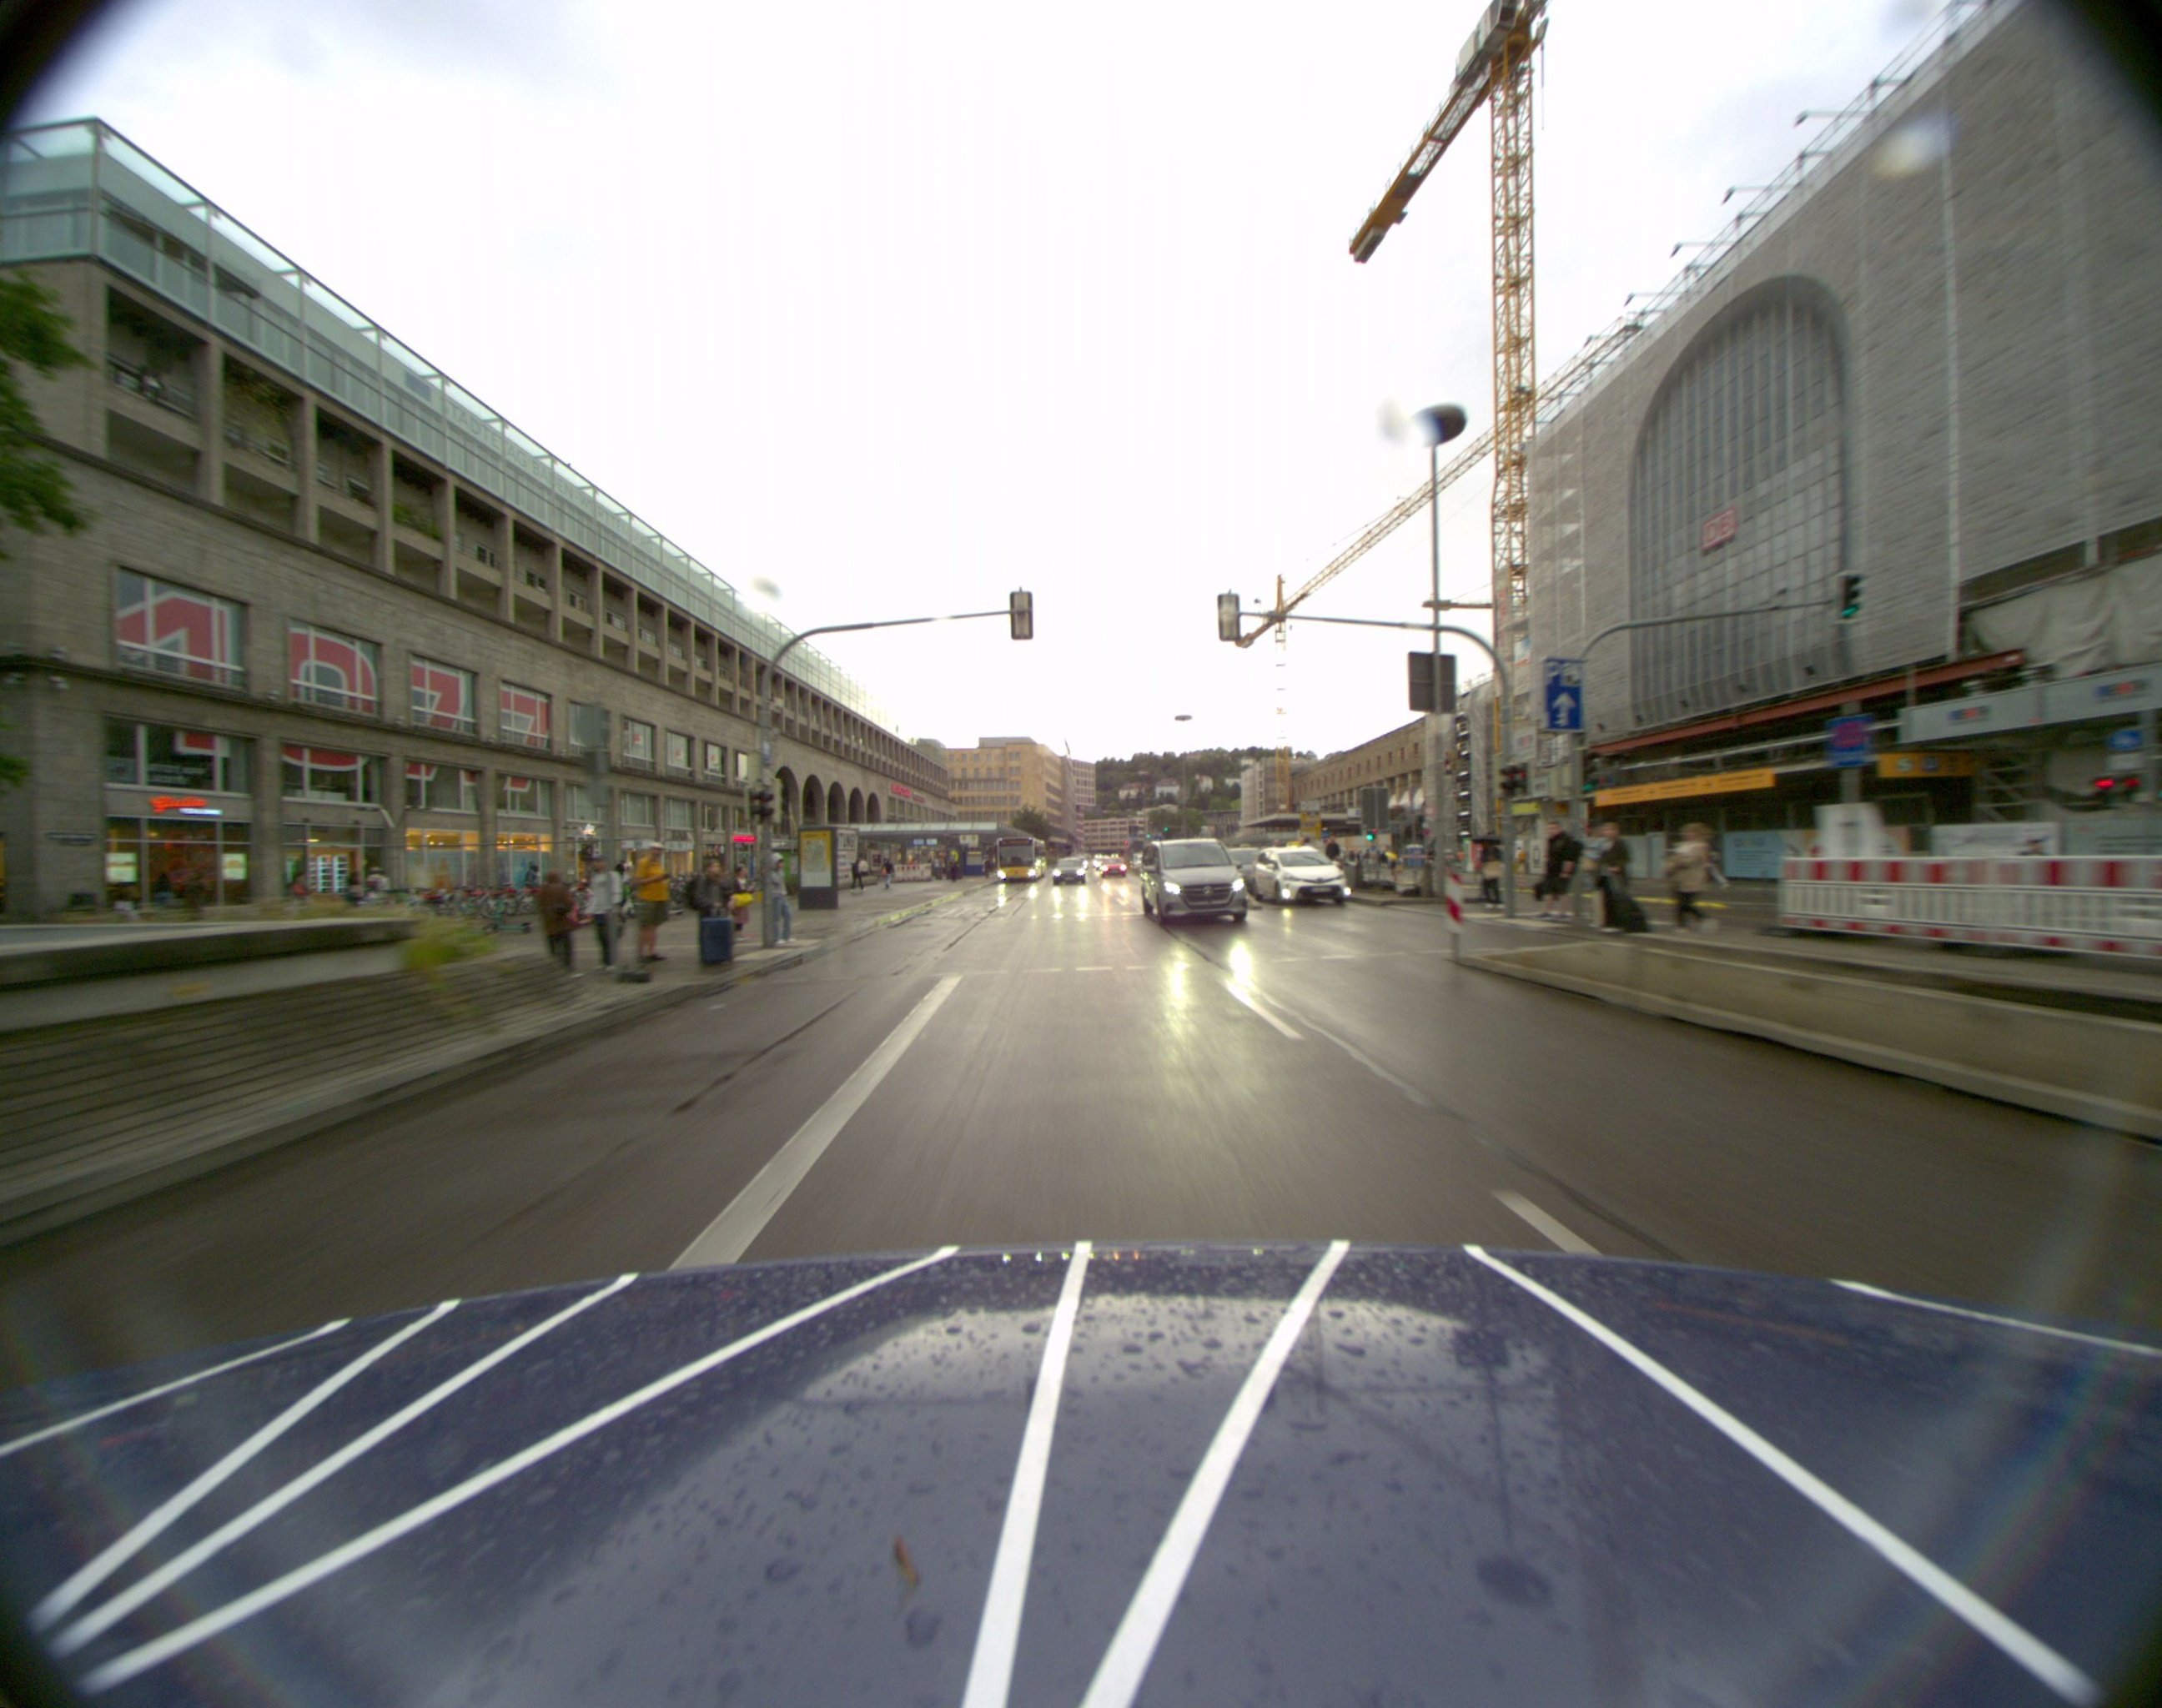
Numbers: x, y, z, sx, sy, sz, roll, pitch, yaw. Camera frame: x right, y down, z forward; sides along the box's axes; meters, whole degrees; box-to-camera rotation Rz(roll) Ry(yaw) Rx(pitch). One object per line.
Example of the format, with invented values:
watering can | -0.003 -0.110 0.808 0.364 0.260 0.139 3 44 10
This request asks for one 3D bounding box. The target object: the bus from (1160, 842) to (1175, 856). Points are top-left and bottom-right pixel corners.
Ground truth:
bus | 22.319 -1.314 196.670 2.916 3.557 19.081 0 0 4

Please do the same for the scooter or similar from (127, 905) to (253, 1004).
scooter or similar | -12.464 1.376 10.671 0.353 1.210 1.158 -3 1 -1

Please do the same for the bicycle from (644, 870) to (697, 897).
bicycle | -18.726 1.334 34.725 2.093 1.133 0.888 0 1 -25

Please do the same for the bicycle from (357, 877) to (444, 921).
bicycle | -19.730 1.302 22.038 1.994 1.230 0.618 1 1 2

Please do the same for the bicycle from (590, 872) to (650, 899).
bicycle | -19.194 1.313 31.668 1.984 1.103 0.824 0 1 -14

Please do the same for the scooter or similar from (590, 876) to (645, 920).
scooter or similar | -14.355 1.354 23.555 1.308 1.249 0.592 -2 1 -13

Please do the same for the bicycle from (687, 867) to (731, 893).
bicycle | -18.561 1.298 37.933 1.992 1.230 0.618 1 1 11

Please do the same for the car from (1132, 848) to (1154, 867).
car | 6.229 0.357 76.960 1.998 1.851 4.833 -1 0 2

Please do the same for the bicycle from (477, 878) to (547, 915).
bicycle | -19.639 1.472 26.247 1.994 1.230 0.618 1 1 2

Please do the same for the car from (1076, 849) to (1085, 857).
car | -0.206 -0.256 190.029 1.998 1.873 4.997 -1 0 2

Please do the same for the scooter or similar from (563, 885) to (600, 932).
scooter or similar | -13.730 1.496 20.909 0.306 1.200 0.957 -2 1 1

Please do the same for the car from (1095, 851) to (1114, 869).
car | 2.501 0.571 80.541 1.872 1.747 3.901 -2 1 1

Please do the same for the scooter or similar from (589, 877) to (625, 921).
scooter or similar | -14.080 1.323 22.563 1.366 1.224 0.570 -1 1 45

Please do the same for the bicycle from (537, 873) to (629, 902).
bicycle | -19.482 1.310 29.777 2.887 1.103 0.879 0 1 -12

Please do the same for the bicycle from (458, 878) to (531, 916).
bicycle | -19.697 1.434 25.547 1.994 1.230 0.618 1 1 2

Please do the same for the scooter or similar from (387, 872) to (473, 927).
scooter or similar | -18.362 1.262 21.457 0.621 1.420 1.713 -1 1 42

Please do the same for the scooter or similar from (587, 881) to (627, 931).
scooter or similar | -12.764 1.388 20.480 0.325 1.230 1.099 -2 1 1

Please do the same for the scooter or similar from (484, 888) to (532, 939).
scooter or similar | -14.752 1.526 19.555 1.362 1.243 0.439 -2 1 31

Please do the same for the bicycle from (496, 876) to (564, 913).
bicycle | -19.557 1.441 27.002 1.994 1.258 0.618 1 1 2

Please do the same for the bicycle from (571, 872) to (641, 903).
bicycle | -19.212 1.334 30.773 2.233 1.103 0.741 -2 1 -15

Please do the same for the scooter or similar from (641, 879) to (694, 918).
scooter or similar | -12.919 1.380 23.760 0.437 1.123 1.368 -4 0 26

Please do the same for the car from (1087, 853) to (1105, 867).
car | 1.752 0.659 88.220 1.998 1.548 3.909 -1 0 2

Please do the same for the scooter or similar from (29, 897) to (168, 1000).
scooter or similar | -13.646 1.274 10.604 0.374 1.251 1.315 -3 1 -12

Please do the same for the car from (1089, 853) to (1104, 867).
car | 2.129 0.789 102.960 1.872 1.715 3.901 -2 1 1

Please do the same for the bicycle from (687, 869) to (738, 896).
bicycle | -17.780 1.377 36.722 0.616 1.230 2.193 1 1 35

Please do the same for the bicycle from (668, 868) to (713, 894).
bicycle | -19.169 1.326 37.339 1.993 1.230 0.618 1 1 10

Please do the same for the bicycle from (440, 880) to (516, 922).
bicycle | -19.735 1.539 24.883 1.994 1.327 0.618 1 1 2

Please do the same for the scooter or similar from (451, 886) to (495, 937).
scooter or similar | -15.332 1.439 19.159 1.095 1.210 0.477 -2 1 31

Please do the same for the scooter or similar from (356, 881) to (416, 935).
scooter or similar | -18.049 1.368 19.773 0.622 1.253 1.748 -3 1 -26

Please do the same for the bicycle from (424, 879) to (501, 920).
bicycle | -19.729 1.443 24.245 1.994 1.230 0.618 1 1 2

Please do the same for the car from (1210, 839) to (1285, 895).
car | 5.989 0.423 27.853 1.718 1.881 4.609 -1 0 0

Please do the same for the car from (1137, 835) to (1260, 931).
car | 2.632 0.588 18.367 1.999 1.893 5.250 -3 0 -1

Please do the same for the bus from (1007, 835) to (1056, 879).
bus | -3.926 0.161 62.942 3.149 3.229 9.134 -2 1 1

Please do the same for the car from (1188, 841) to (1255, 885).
car | 6.114 0.378 33.652 1.999 1.776 4.847 -1 0 0

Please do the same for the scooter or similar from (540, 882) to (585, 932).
scooter or similar | -14.229 1.447 20.878 0.370 1.274 1.173 -2 1 1

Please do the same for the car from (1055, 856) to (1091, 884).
car | -0.403 0.913 45.211 1.822 1.455 4.700 -4 0 2

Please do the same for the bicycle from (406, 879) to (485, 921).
bicycle | -19.747 1.426 23.626 1.994 1.230 0.618 1 1 2

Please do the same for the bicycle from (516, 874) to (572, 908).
bicycle | -19.532 1.339 27.634 1.620 1.218 0.618 1 1 2

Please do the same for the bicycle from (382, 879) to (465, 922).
bicycle | -19.767 1.402 22.875 1.994 1.230 0.618 1 1 2

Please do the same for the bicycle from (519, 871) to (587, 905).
bicycle | -19.674 1.278 28.360 1.997 1.230 0.617 0 1 -12

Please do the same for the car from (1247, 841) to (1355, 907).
car | 6.139 0.509 21.782 1.791 1.676 4.666 -1 0 1

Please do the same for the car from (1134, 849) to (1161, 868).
car | 6.128 0.422 70.731 1.999 1.696 4.832 -1 0 -1

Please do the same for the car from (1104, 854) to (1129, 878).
car | 2.506 0.835 54.399 1.709 1.485 3.670 -2 1 2
